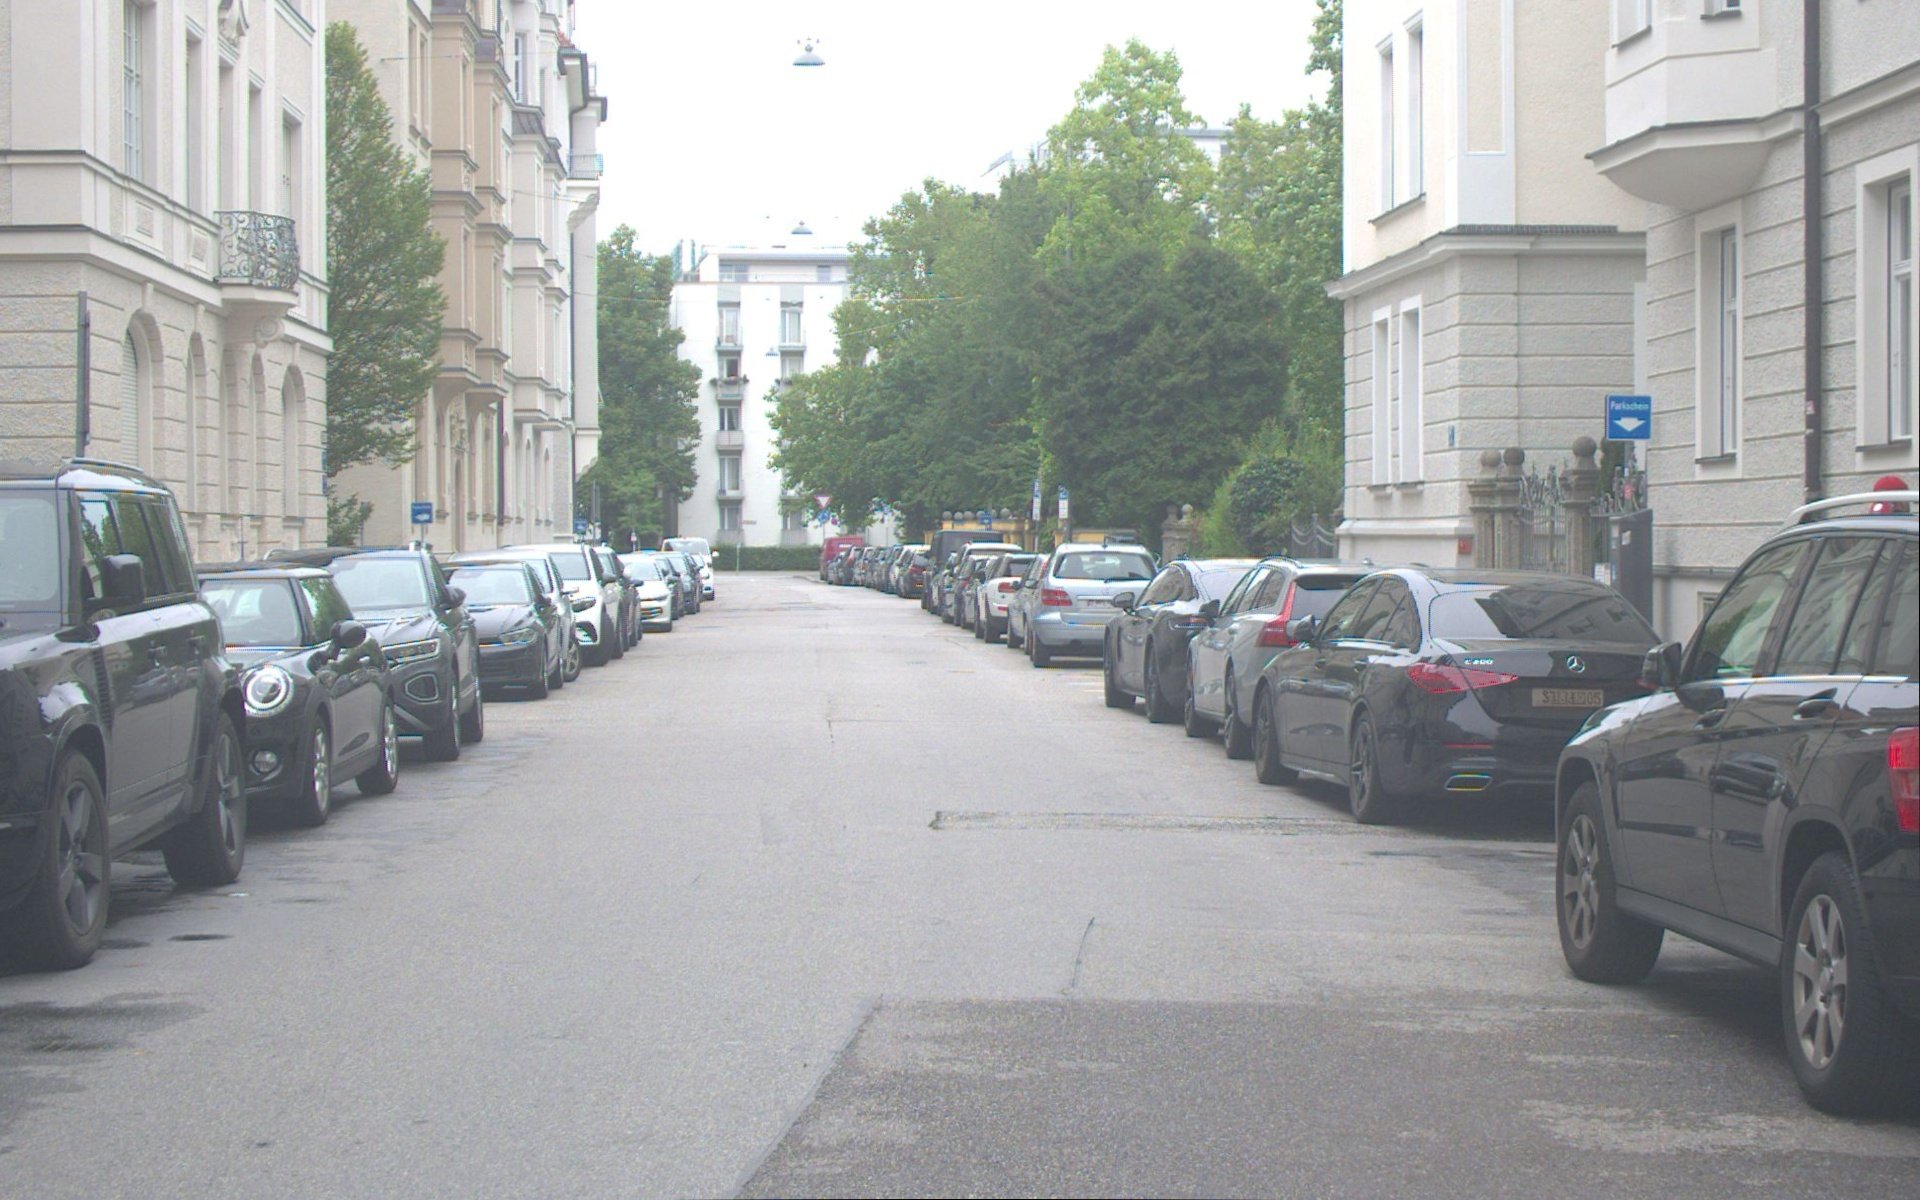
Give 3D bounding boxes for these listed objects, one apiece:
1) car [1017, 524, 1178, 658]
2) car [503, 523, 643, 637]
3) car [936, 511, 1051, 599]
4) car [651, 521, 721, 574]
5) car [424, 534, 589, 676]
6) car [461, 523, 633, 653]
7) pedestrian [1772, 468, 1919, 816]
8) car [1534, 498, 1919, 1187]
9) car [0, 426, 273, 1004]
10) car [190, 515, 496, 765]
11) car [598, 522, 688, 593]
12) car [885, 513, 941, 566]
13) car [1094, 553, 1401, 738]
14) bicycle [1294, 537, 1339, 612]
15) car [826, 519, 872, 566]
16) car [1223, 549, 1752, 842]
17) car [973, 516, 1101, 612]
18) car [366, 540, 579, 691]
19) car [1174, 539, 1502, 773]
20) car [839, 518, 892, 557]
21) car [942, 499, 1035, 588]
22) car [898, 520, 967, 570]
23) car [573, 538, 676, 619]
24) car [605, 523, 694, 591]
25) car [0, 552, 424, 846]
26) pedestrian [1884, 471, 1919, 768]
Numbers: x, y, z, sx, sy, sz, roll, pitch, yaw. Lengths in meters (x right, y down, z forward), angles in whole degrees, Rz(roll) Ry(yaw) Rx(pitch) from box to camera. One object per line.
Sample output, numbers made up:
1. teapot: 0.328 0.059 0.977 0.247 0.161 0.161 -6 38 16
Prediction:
1. car: 1.750 -0.164 44.982 1.822 1.564 4.401 2 2 -1
2. car: -5.809 -0.338 51.977 1.836 1.613 4.245 -1 2 -3
3. car: 0.627 -0.917 68.074 1.750 1.605 4.425 1 2 -6
4. car: -8.163 -1.594 102.870 1.836 1.433 4.275 -3 2 -2
5. car: -5.409 0.017 41.398 1.782 1.536 4.258 -3 1 -6
6. car: -5.510 -0.205 46.387 1.915 1.613 4.572 0 2 -2
7. pedestrian: 4.959 0.204 18.452 0.883 1.805 1.111 0 1 -3
8. car: 3.044 0.526 10.428 1.800 1.669 4.190 0 2 -2
9. car: -4.046 0.342 13.601 1.836 1.888 4.764 -2 2 -3
10. car: -4.441 0.225 25.275 1.726 1.613 4.122 -3 1 -4
11. car: -7.049 -0.978 76.758 1.833 1.429 4.554 -2 2 -4
12. car: -1.516 -1.951 110.709 1.513 1.656 3.675 1 1 -5
13. car: 2.488 0.345 30.950 1.993 1.452 4.714 -1 1 -5
14. bicycle: 5.529 -0.403 53.353 0.434 1.122 1.882 -1 1 -2
15. car: -4.825 -2.529 150.129 1.836 1.920 4.005 2 2 -1
16. car: 2.922 0.460 20.260 1.836 1.394 4.975 1 2 -6
17. car: 1.210 -0.608 55.764 1.784 1.499 4.065 0 1 -3
18. car: -5.136 0.123 36.711 1.792 1.410 4.279 -3 1 -3
19. car: 2.727 0.344 25.773 1.760 1.480 4.421 2 2 -2
20. car: -3.843 -2.524 139.341 1.838 1.513 3.948 1 1 -6
21. car: 0.570 -1.198 72.981 1.722 1.763 4.413 2 1 -2
22. car: -0.836 -1.598 100.800 1.838 1.408 4.343 1 1 -3
23. car: -6.533 -0.444 67.287 1.836 1.429 4.245 -2 2 -4
24. car: -7.398 -1.052 82.212 1.836 1.431 4.245 -3 2 -2
25. car: -4.336 0.489 19.963 1.836 1.389 4.245 -2 2 -1
26. pedestrian: 6.280 0.112 21.117 0.883 1.807 1.111 0 2 -1
